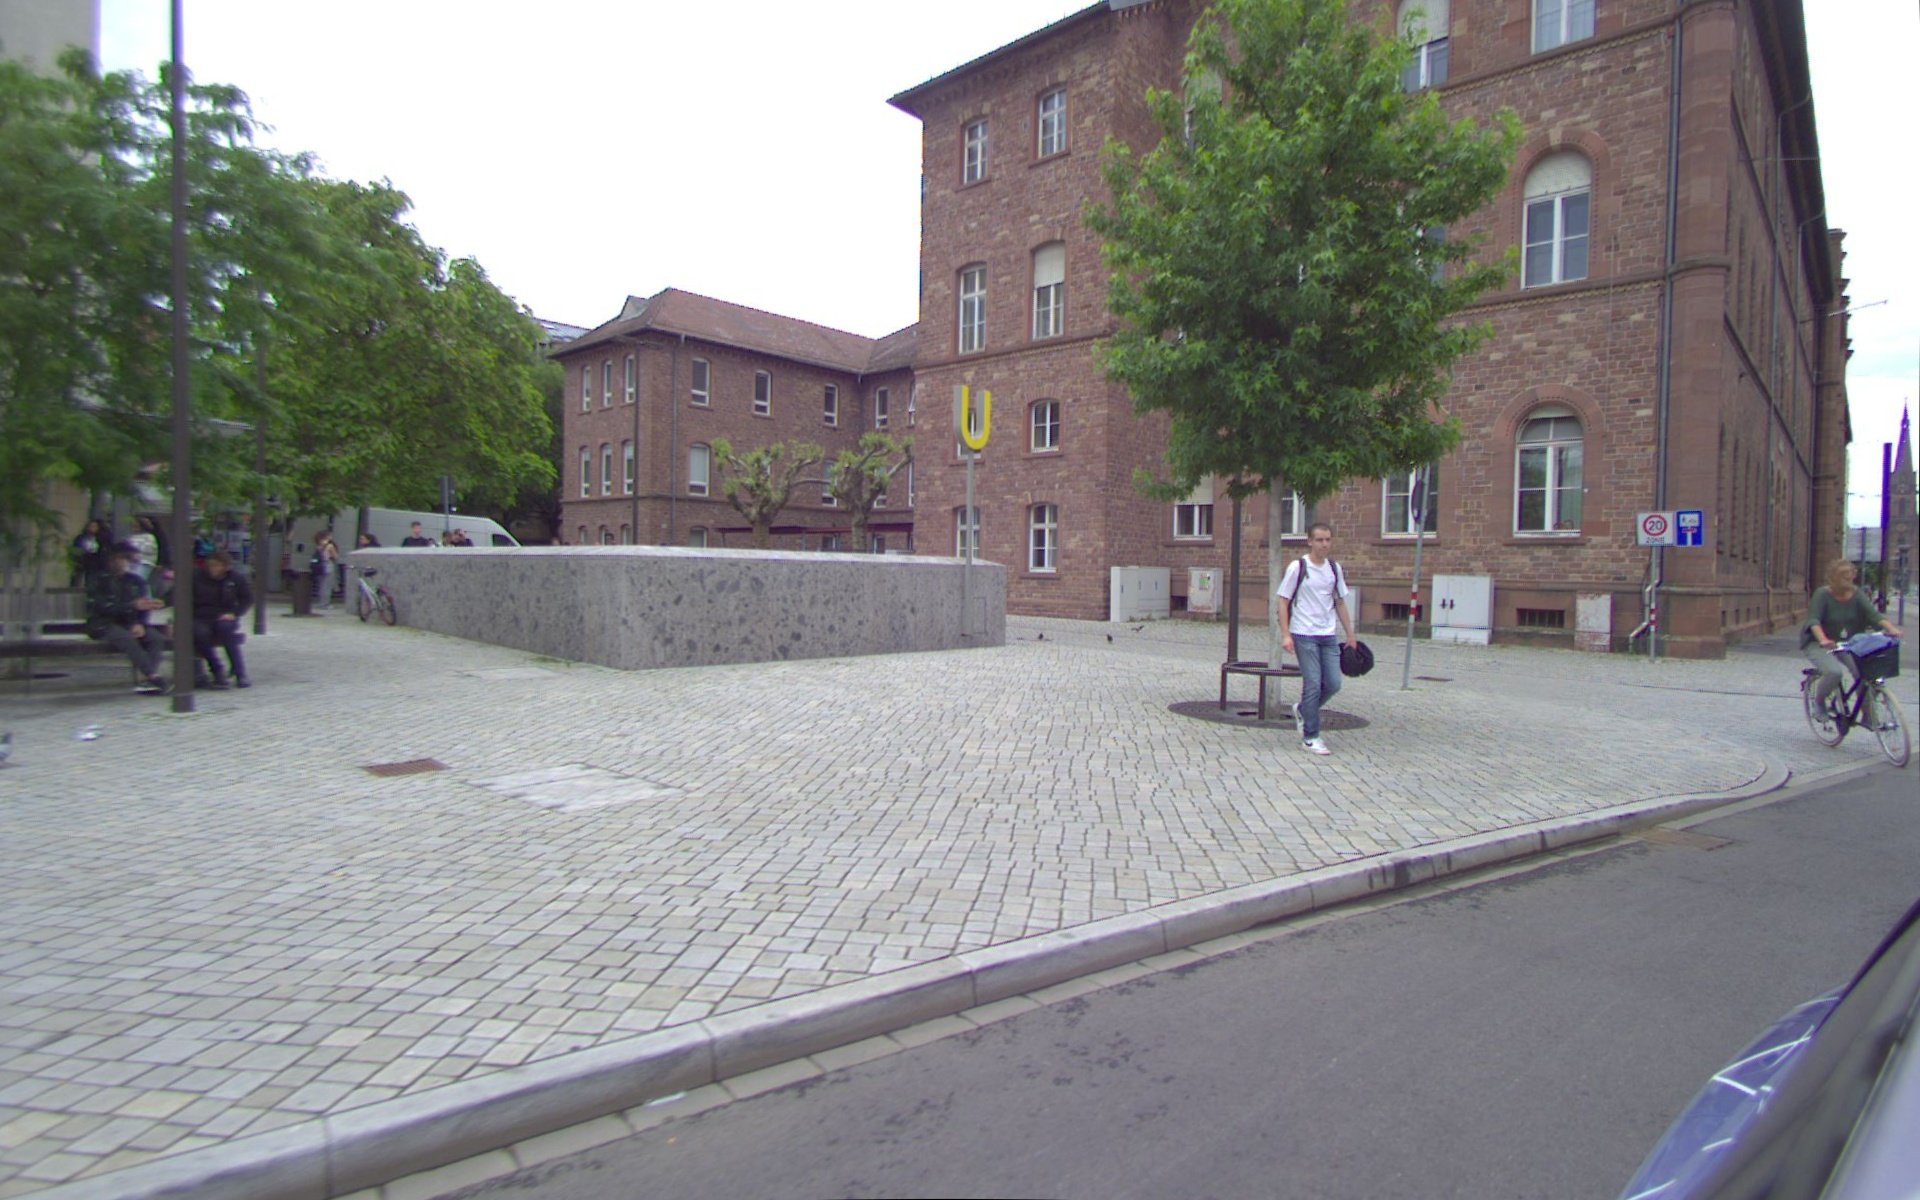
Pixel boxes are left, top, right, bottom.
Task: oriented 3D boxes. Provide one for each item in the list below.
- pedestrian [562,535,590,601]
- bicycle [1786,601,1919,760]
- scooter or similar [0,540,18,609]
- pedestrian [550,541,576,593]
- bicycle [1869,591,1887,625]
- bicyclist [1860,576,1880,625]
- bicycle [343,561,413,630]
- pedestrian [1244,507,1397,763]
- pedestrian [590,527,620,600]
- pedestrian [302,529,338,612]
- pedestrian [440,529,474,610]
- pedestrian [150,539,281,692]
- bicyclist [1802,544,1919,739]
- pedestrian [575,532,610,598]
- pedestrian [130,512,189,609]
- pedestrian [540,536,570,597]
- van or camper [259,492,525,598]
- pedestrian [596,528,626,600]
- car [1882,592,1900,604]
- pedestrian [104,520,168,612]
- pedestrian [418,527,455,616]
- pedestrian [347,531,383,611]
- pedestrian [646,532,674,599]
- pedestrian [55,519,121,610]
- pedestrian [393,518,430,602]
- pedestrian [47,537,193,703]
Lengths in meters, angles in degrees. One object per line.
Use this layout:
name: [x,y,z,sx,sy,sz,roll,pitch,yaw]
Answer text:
pedestrian: [-11.307,-0.932,29.786,0.661,1.913,0.526,0,0,39]
bicycle: [8.295,0.672,9.329,0.519,1.276,1.926,1,2,24]
scooter or similar: [-17.731,-0.471,17.945,1.407,1.218,0.503,1,3,-23]
pedestrian: [-12.679,-1.060,32.325,0.524,1.642,0.663,0,0,4]
bicycle: [35.873,0.300,39.571,0.445,1.291,2.193,4,3,42]
bicyclist: [35.395,-0.003,39.370,0.528,1.881,0.444,3,2,42]
bicycle: [-10.179,-0.101,17.666,2.023,1.077,0.463,4,3,42]
pedestrian: [2.906,0.240,8.171,0.869,1.925,0.761,3,2,42]
pedestrian: [-8.366,-0.858,23.838,0.579,1.691,0.515,2,0,-24]
pedestrian: [-13.375,-0.621,21.173,0.580,1.691,0.644,2,1,-32]
pedestrian: [-10.736,-0.644,21.603,0.579,1.691,0.515,2,0,-27]
pedestrian: [-7.642,0.129,10.415,0.768,1.473,0.765,3,3,13]
bicyclist: [8.294,0.352,9.343,0.565,1.705,0.787,1,1,24]
pedestrian: [-11.677,-1.101,32.128,0.807,2.039,0.757,0,0,-44]
pedestrian: [-15.162,-0.736,19.183,0.630,1.790,0.593,2,0,-11]
pedestrian: [-11.584,-0.946,28.925,0.659,1.699,0.527,0,0,34]
van or camper: [-16.240,-1.458,29.318,1.993,2.754,6.460,0,1,42]
pedestrian: [-8.453,-0.868,24.513,0.579,1.691,0.515,2,0,-26]
car: [135.649,-0.257,147.480,1.830,1.683,3.938,1,1,43]
pedestrian: [-14.914,-0.610,18.318,0.582,1.606,0.641,2,0,10]
pedestrian: [-10.170,-0.546,19.673,0.579,1.691,0.515,2,0,-27]
pedestrian: [-12.923,-0.622,22.001,0.579,1.691,0.644,2,1,-27]
pedestrian: [-7.793,-0.892,26.283,0.579,1.691,0.515,2,0,-26]
pedestrian: [-15.761,-0.633,18.302,0.582,1.606,0.641,2,0,10]
pedestrian: [-11.380,-0.823,21.002,0.579,1.691,0.515,2,0,-24]
pedestrian: [-8.001,0.163,9.662,0.768,1.473,0.765,3,3,13]
